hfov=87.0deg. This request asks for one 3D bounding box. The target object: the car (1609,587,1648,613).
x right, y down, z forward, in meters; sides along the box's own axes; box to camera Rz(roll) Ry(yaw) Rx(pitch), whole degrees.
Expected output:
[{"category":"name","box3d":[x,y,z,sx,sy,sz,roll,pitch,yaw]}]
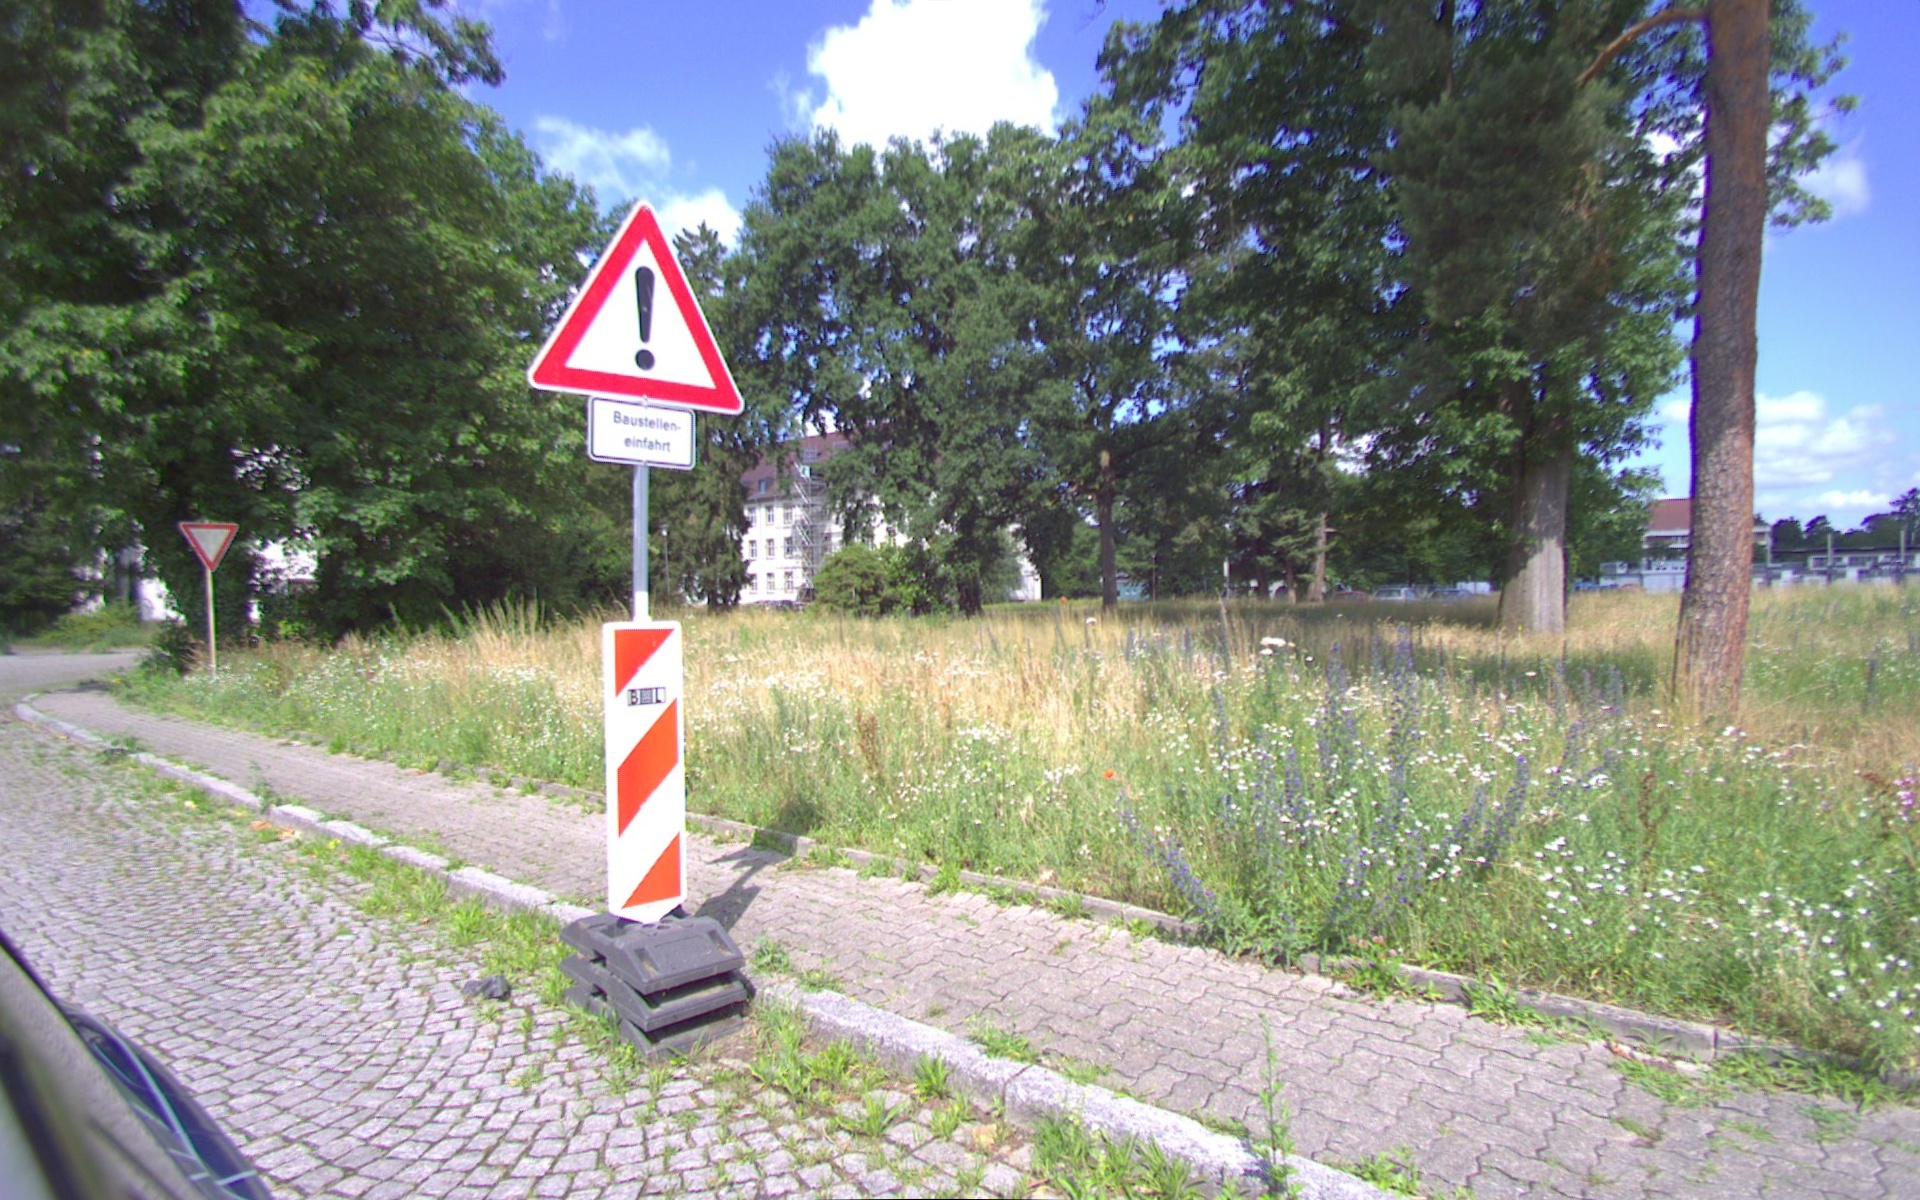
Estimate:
[{"category":"car","box3d":[46.841,0.010,70.929,1.899,1.715,4.026,-1,-1,39]}]

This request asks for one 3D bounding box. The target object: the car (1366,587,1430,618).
[{"category":"car","box3d":[21.574,0.125,49.757,1.899,1.423,4.018,-1,-1,39]}]
